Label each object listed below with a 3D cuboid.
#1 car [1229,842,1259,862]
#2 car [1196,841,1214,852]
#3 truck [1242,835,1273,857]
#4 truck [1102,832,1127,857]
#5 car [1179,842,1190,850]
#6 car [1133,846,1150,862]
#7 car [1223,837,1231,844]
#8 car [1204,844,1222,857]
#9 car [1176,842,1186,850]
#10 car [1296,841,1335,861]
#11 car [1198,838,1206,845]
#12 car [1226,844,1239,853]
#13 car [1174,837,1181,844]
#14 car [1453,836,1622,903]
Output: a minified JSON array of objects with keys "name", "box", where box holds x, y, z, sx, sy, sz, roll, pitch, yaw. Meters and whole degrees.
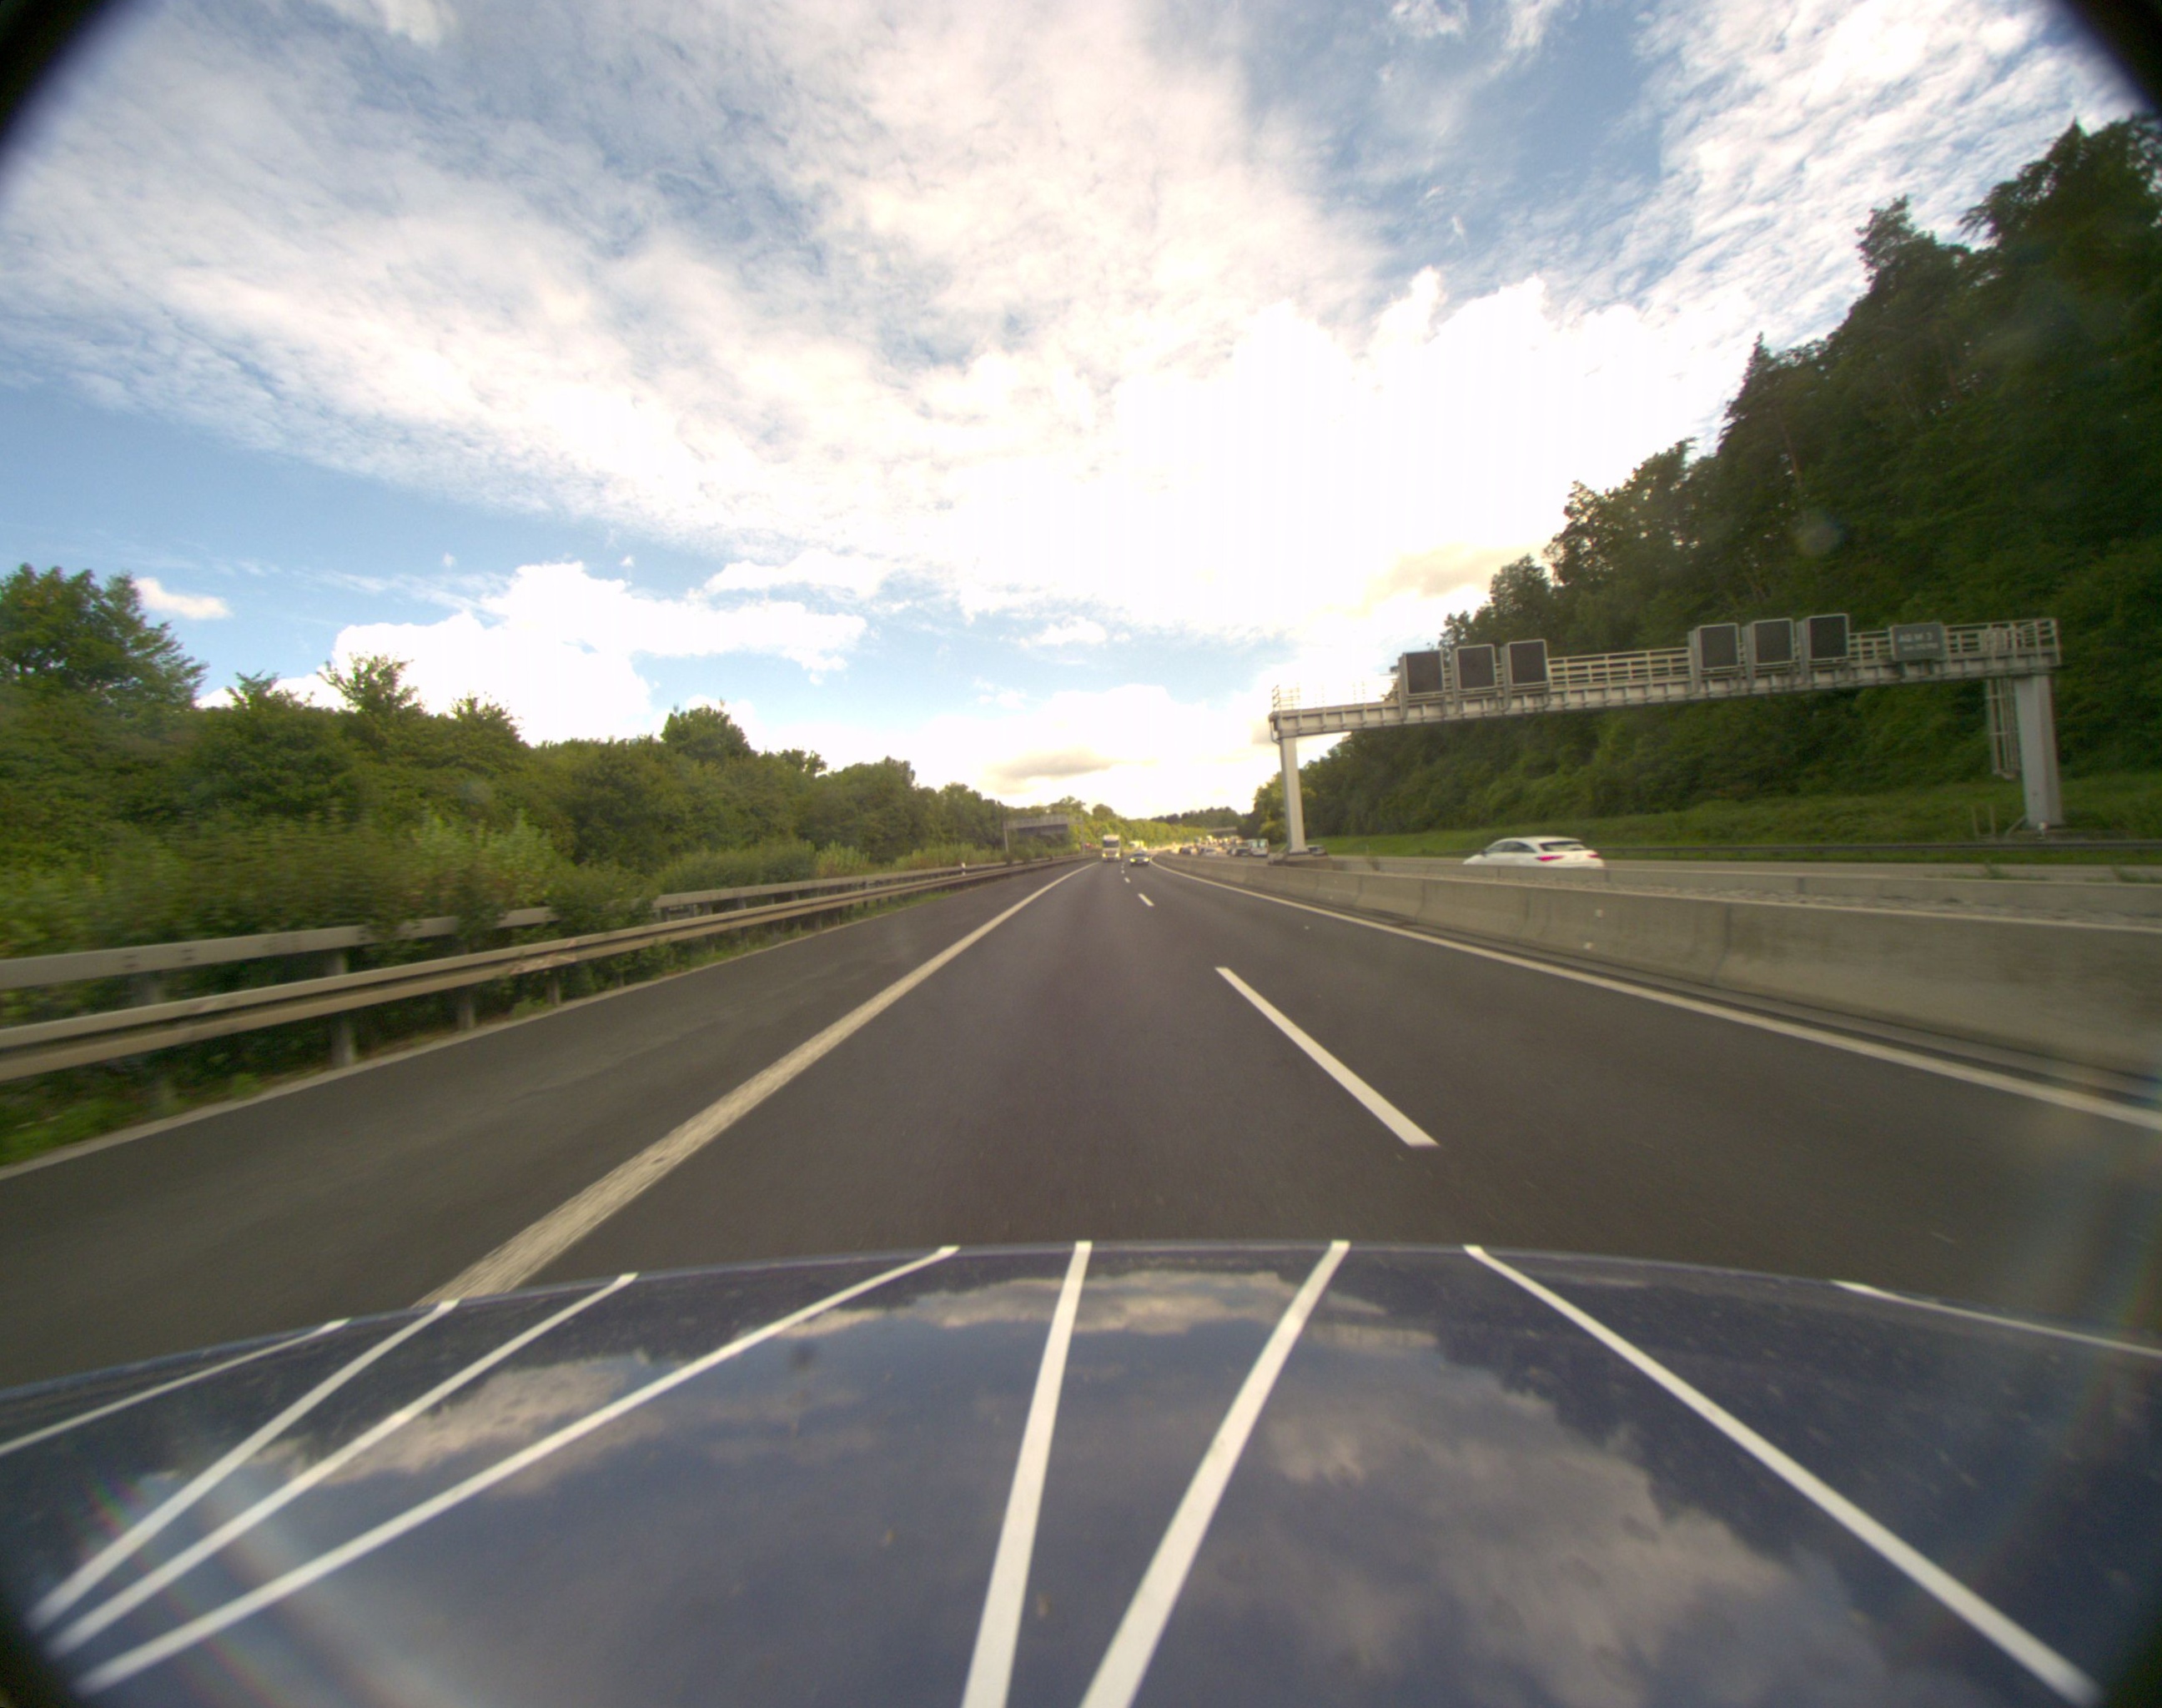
[{"name":"car","box":[14.562,-0.210,68.044,1.998,1.631,4.000,-2,1,3]},{"name":"car","box":[17.649,-1.083,108.263,1.998,1.527,5.285,-2,1,3]},{"name":"truck","box":[18.934,-0.839,81.695,2.189,2.213,5.571,-2,1,3]},{"name":"truck","box":[5.219,-1.555,116.959,2.795,3.562,11.461,-2,1,7]},{"name":"car","box":[19.579,-1.532,144.074,1.703,1.530,4.501,-2,1,3]},{"name":"car","box":[6.352,-0.020,79.777,1.662,1.464,4.001,-2,1,6]},{"name":"car","box":[43.441,-3.957,226.570,2.029,2.022,4.783,-2,1,7]},{"name":"car","box":[15.674,-0.384,90.462,1.569,1.441,3.889,-2,1,3]},{"name":"car","box":[22.821,-1.767,173.297,1.880,1.688,4.315,-2,1,5]},{"name":"car","box":[17.847,-0.265,58.098,1.669,1.387,4.601,-2,1,2]},{"name":"car","box":[36.132,-3.778,227.092,1.997,2.002,4.779,-2,1,7]},{"name":"car","box":[28.047,-0.941,140.402,1.808,1.565,4.559,-2,1,5]},{"name":"car","box":[32.521,-4.500,255.363,1.997,2.022,4.002,-2,1,9]},{"name":"car","box":[12.450,0.371,21.163,1.769,1.572,4.932,-3,0,1]}]
